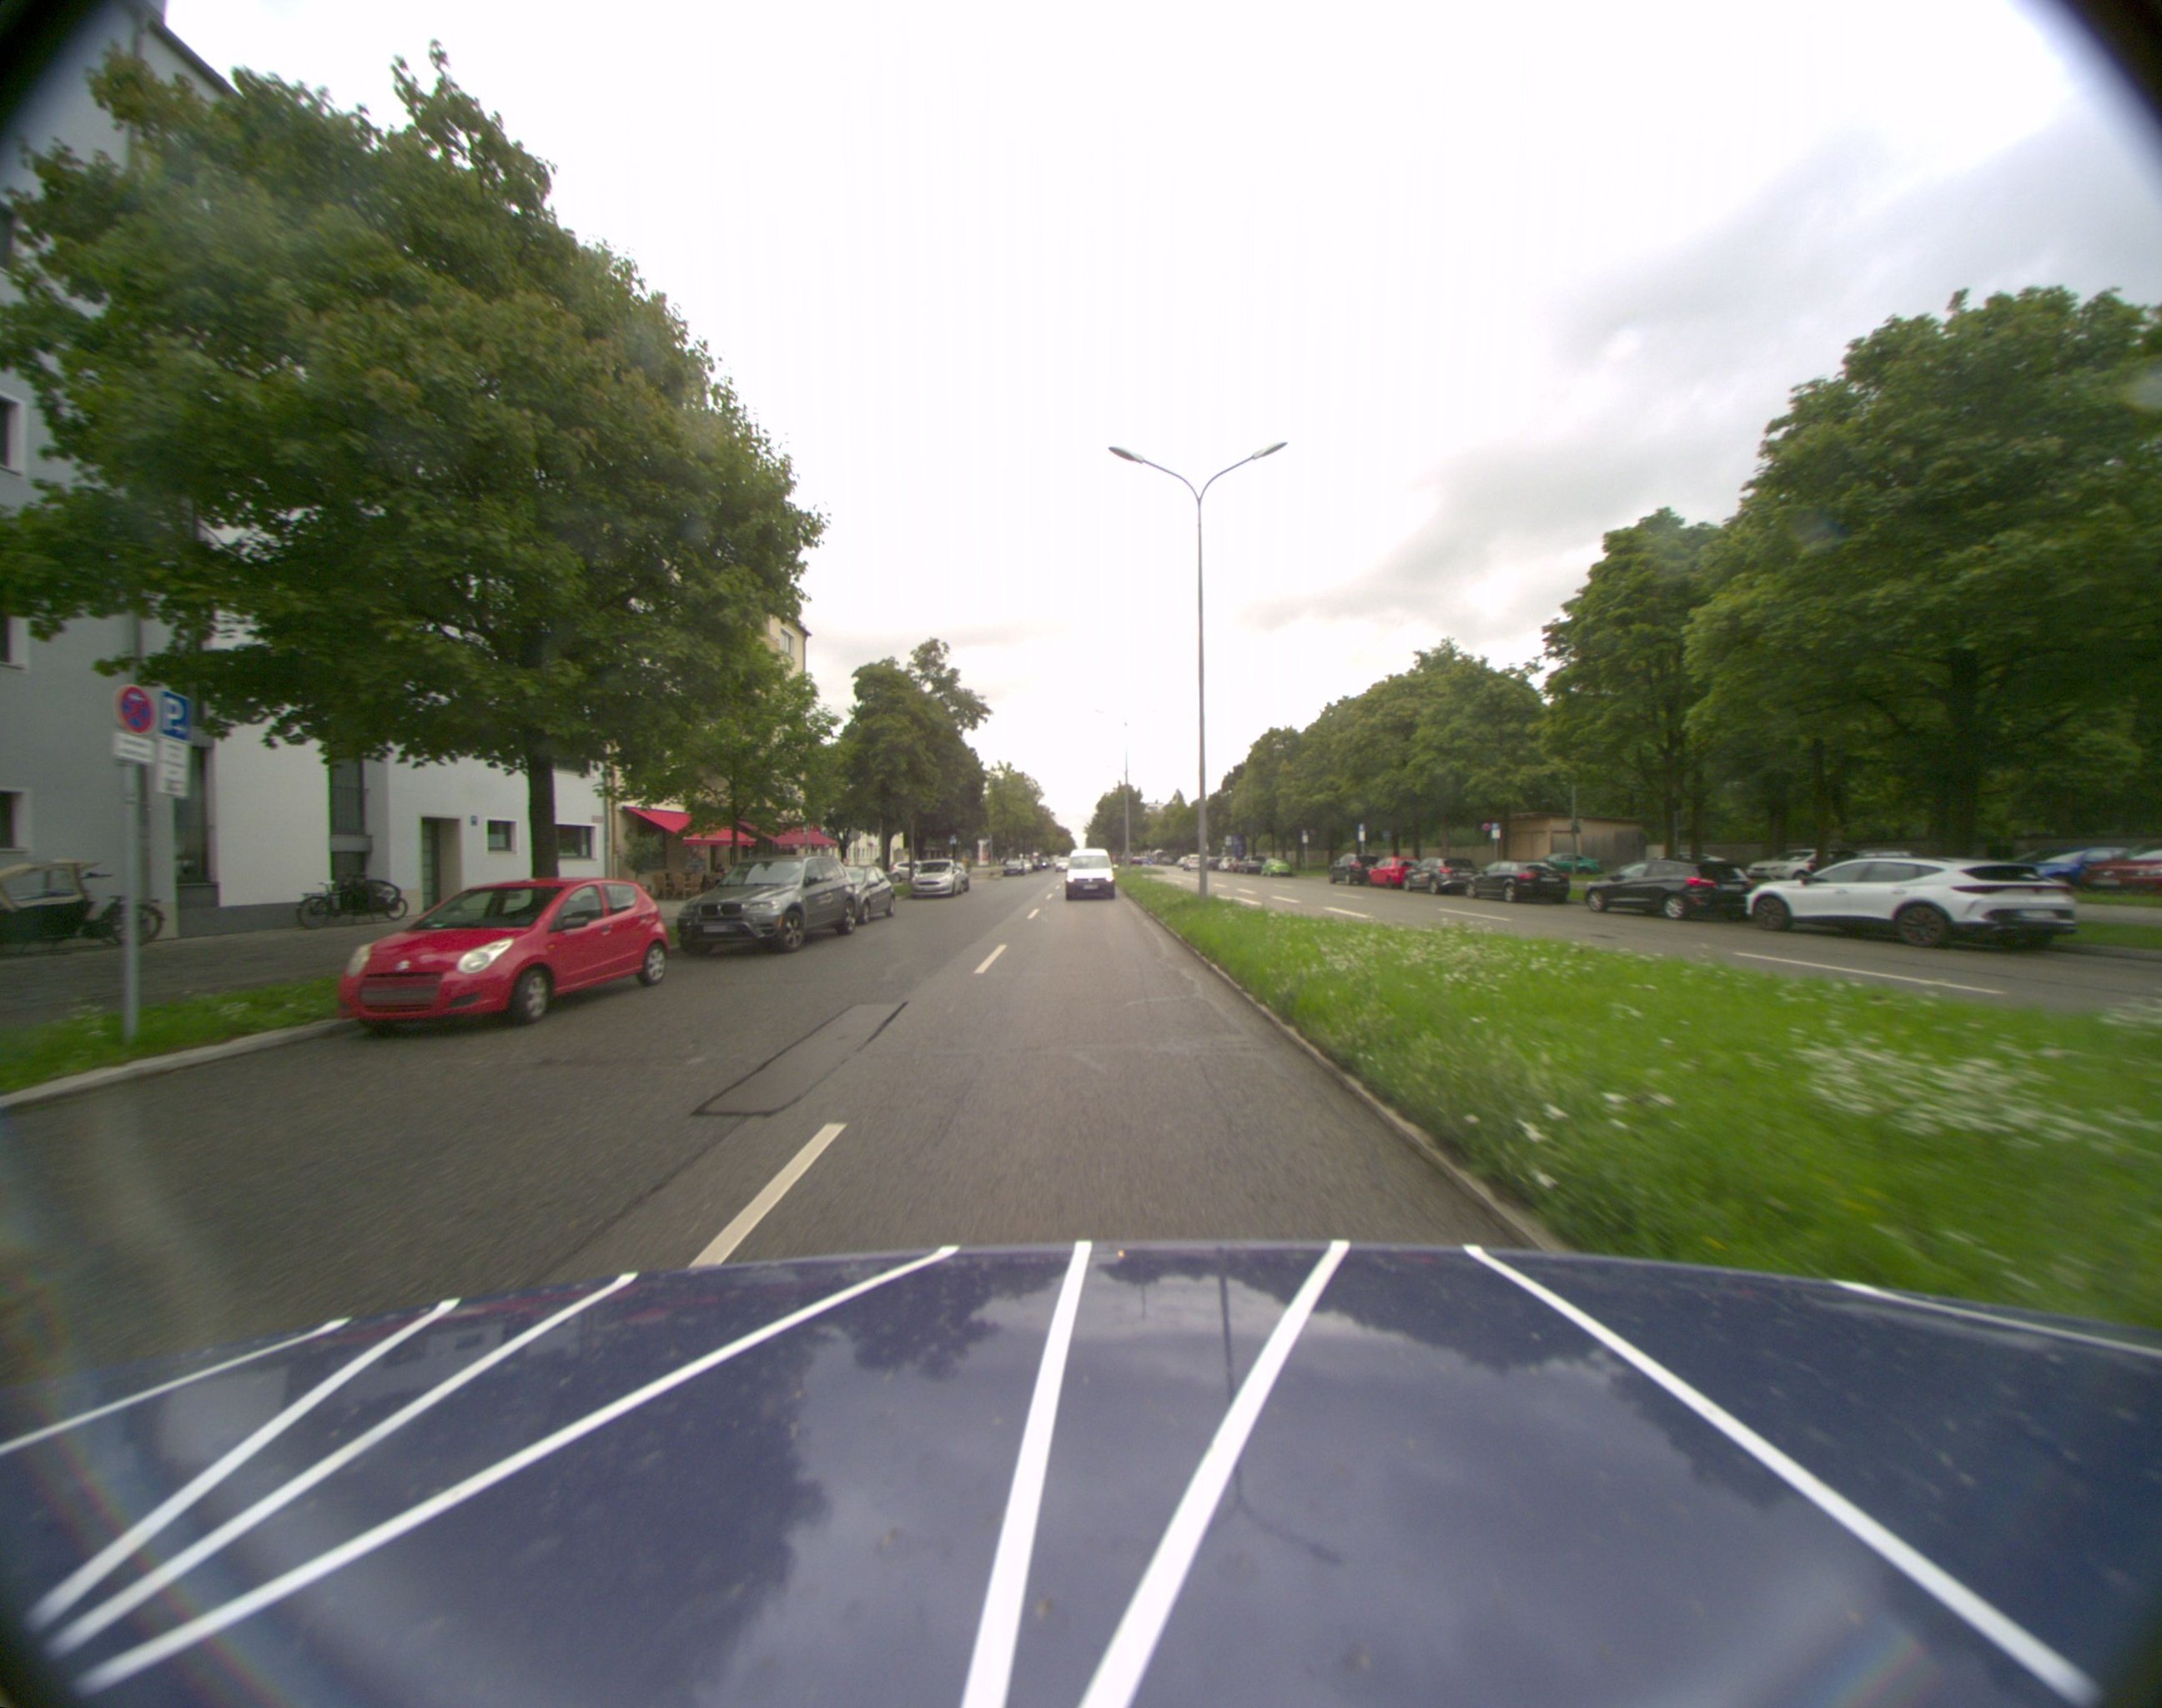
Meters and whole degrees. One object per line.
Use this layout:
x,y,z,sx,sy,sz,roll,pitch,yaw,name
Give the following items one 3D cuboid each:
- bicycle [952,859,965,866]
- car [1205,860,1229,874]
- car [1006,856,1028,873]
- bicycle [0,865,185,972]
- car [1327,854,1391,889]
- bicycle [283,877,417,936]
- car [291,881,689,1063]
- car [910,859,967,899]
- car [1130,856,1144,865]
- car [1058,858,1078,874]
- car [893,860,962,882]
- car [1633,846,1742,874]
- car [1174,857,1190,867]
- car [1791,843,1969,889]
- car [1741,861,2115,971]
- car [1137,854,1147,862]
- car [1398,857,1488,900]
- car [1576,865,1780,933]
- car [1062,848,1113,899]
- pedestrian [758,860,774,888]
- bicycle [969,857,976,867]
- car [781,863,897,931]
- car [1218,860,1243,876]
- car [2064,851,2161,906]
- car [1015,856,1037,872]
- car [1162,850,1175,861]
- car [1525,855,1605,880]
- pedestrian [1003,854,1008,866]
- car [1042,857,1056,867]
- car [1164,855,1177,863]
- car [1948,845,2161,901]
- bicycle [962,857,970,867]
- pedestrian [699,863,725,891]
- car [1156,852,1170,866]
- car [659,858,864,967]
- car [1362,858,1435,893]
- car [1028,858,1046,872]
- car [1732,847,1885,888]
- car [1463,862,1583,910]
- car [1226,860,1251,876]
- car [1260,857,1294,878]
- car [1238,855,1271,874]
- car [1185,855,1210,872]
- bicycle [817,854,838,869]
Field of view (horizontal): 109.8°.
-15.888,1.072,98.851,1.599,0.910,0.498,-1,1,-4,bicycle
14.909,1.398,83.639,1.826,1.438,3.787,1,0,-2,car
-5.724,0.940,68.275,1.648,1.468,3.956,-2,0,-1,car
-15.101,0.898,11.176,0.704,1.399,2.592,3,0,1,bicycle
14.812,0.890,40.714,1.826,1.690,4.238,-1,1,-1,car
-15.167,1.061,15.860,0.623,1.040,2.195,3,0,1,bicycle
-6.296,1.126,8.782,1.525,1.433,3.999,-1,0,-2,car
-6.101,1.012,33.026,1.834,1.513,4.522,-2,0,-3,car
9.286,1.017,126.414,1.820,1.440,4.782,0,0,0,car
-1.341,1.205,80.489,1.984,1.591,4.402,1,0,1,car
-10.578,1.160,52.501,4.214,1.433,2.002,-1,0,15,car
32.865,0.327,41.343,4.457,1.401,1.862,-1,1,31,car
14.771,1.154,111.728,1.717,1.434,4.041,0,0,-2,car
27.554,0.396,26.299,4.146,1.433,2.000,-1,0,-2,car
14.621,0.962,13.591,1.826,1.519,4.298,1,1,-1,car
11.585,0.782,144.531,1.826,1.544,3.721,-1,0,2,car
14.644,0.931,30.992,1.826,1.590,4.113,-1,0,2,car
14.616,1.032,18.947,1.826,1.439,3.999,1,0,-3,car
0.243,0.704,29.571,1.772,1.742,4.546,-3,0,0,car
-15.602,0.982,37.671,0.539,1.331,0.552,-1,1,-1,pedestrian
-13.088,0.971,91.680,0.545,1.182,2.076,-1,0,1,bicycle
-6.179,1.048,19.840,1.834,1.513,3.770,-1,0,-1,car
15.247,1.392,77.640,1.826,1.468,4.260,2,0,1,car
27.562,0.561,19.018,3.999,1.276,1.740,-1,0,-5,car
-5.695,1.031,79.028,1.826,1.428,4.287,-3,0,1,car
15.851,0.258,137.954,1.998,2.002,4.000,-1,0,0,car
28.141,0.788,44.271,3.849,1.401,1.863,-1,0,31,car
-11.561,0.943,116.201,0.560,1.745,0.656,-1,1,-19,pedestrian
-4.428,1.085,105.324,1.827,1.371,4.300,-2,0,-1,car
15.657,0.853,133.186,1.717,1.401,4.041,0,0,-2,car
28.013,0.514,21.899,3.999,1.433,1.999,-1,0,-5,car
-13.987,0.993,92.546,0.545,1.182,2.076,-1,0,1,bicycle
-15.331,0.958,31.595,0.745,1.156,0.647,1,1,0,pedestrian
15.741,0.880,145.591,1.999,2.576,4.499,0,0,-2,car
-5.930,0.978,14.802,1.833,1.736,4.509,-1,0,3,car
15.074,0.985,36.272,1.826,1.471,3.808,-1,1,-1,car
-5.091,1.279,88.854,1.826,1.502,4.157,-1,0,0,car
27.942,0.508,29.300,3.997,1.433,2.000,-1,0,0,car
14.690,1.017,25.519,1.826,1.401,4.001,1,0,3,car
15.086,1.284,72.743,1.654,1.414,3.687,2,0,1,car
15.081,1.026,58.554,1.644,1.490,4.000,1,0,1,car
15.202,0.894,66.795,1.826,1.621,4.456,0,0,0,car
11.718,0.934,76.741,1.855,1.591,4.402,1,0,1,car
-20.657,0.621,61.922,1.473,1.149,0.699,-1,1,-2,bicycle
